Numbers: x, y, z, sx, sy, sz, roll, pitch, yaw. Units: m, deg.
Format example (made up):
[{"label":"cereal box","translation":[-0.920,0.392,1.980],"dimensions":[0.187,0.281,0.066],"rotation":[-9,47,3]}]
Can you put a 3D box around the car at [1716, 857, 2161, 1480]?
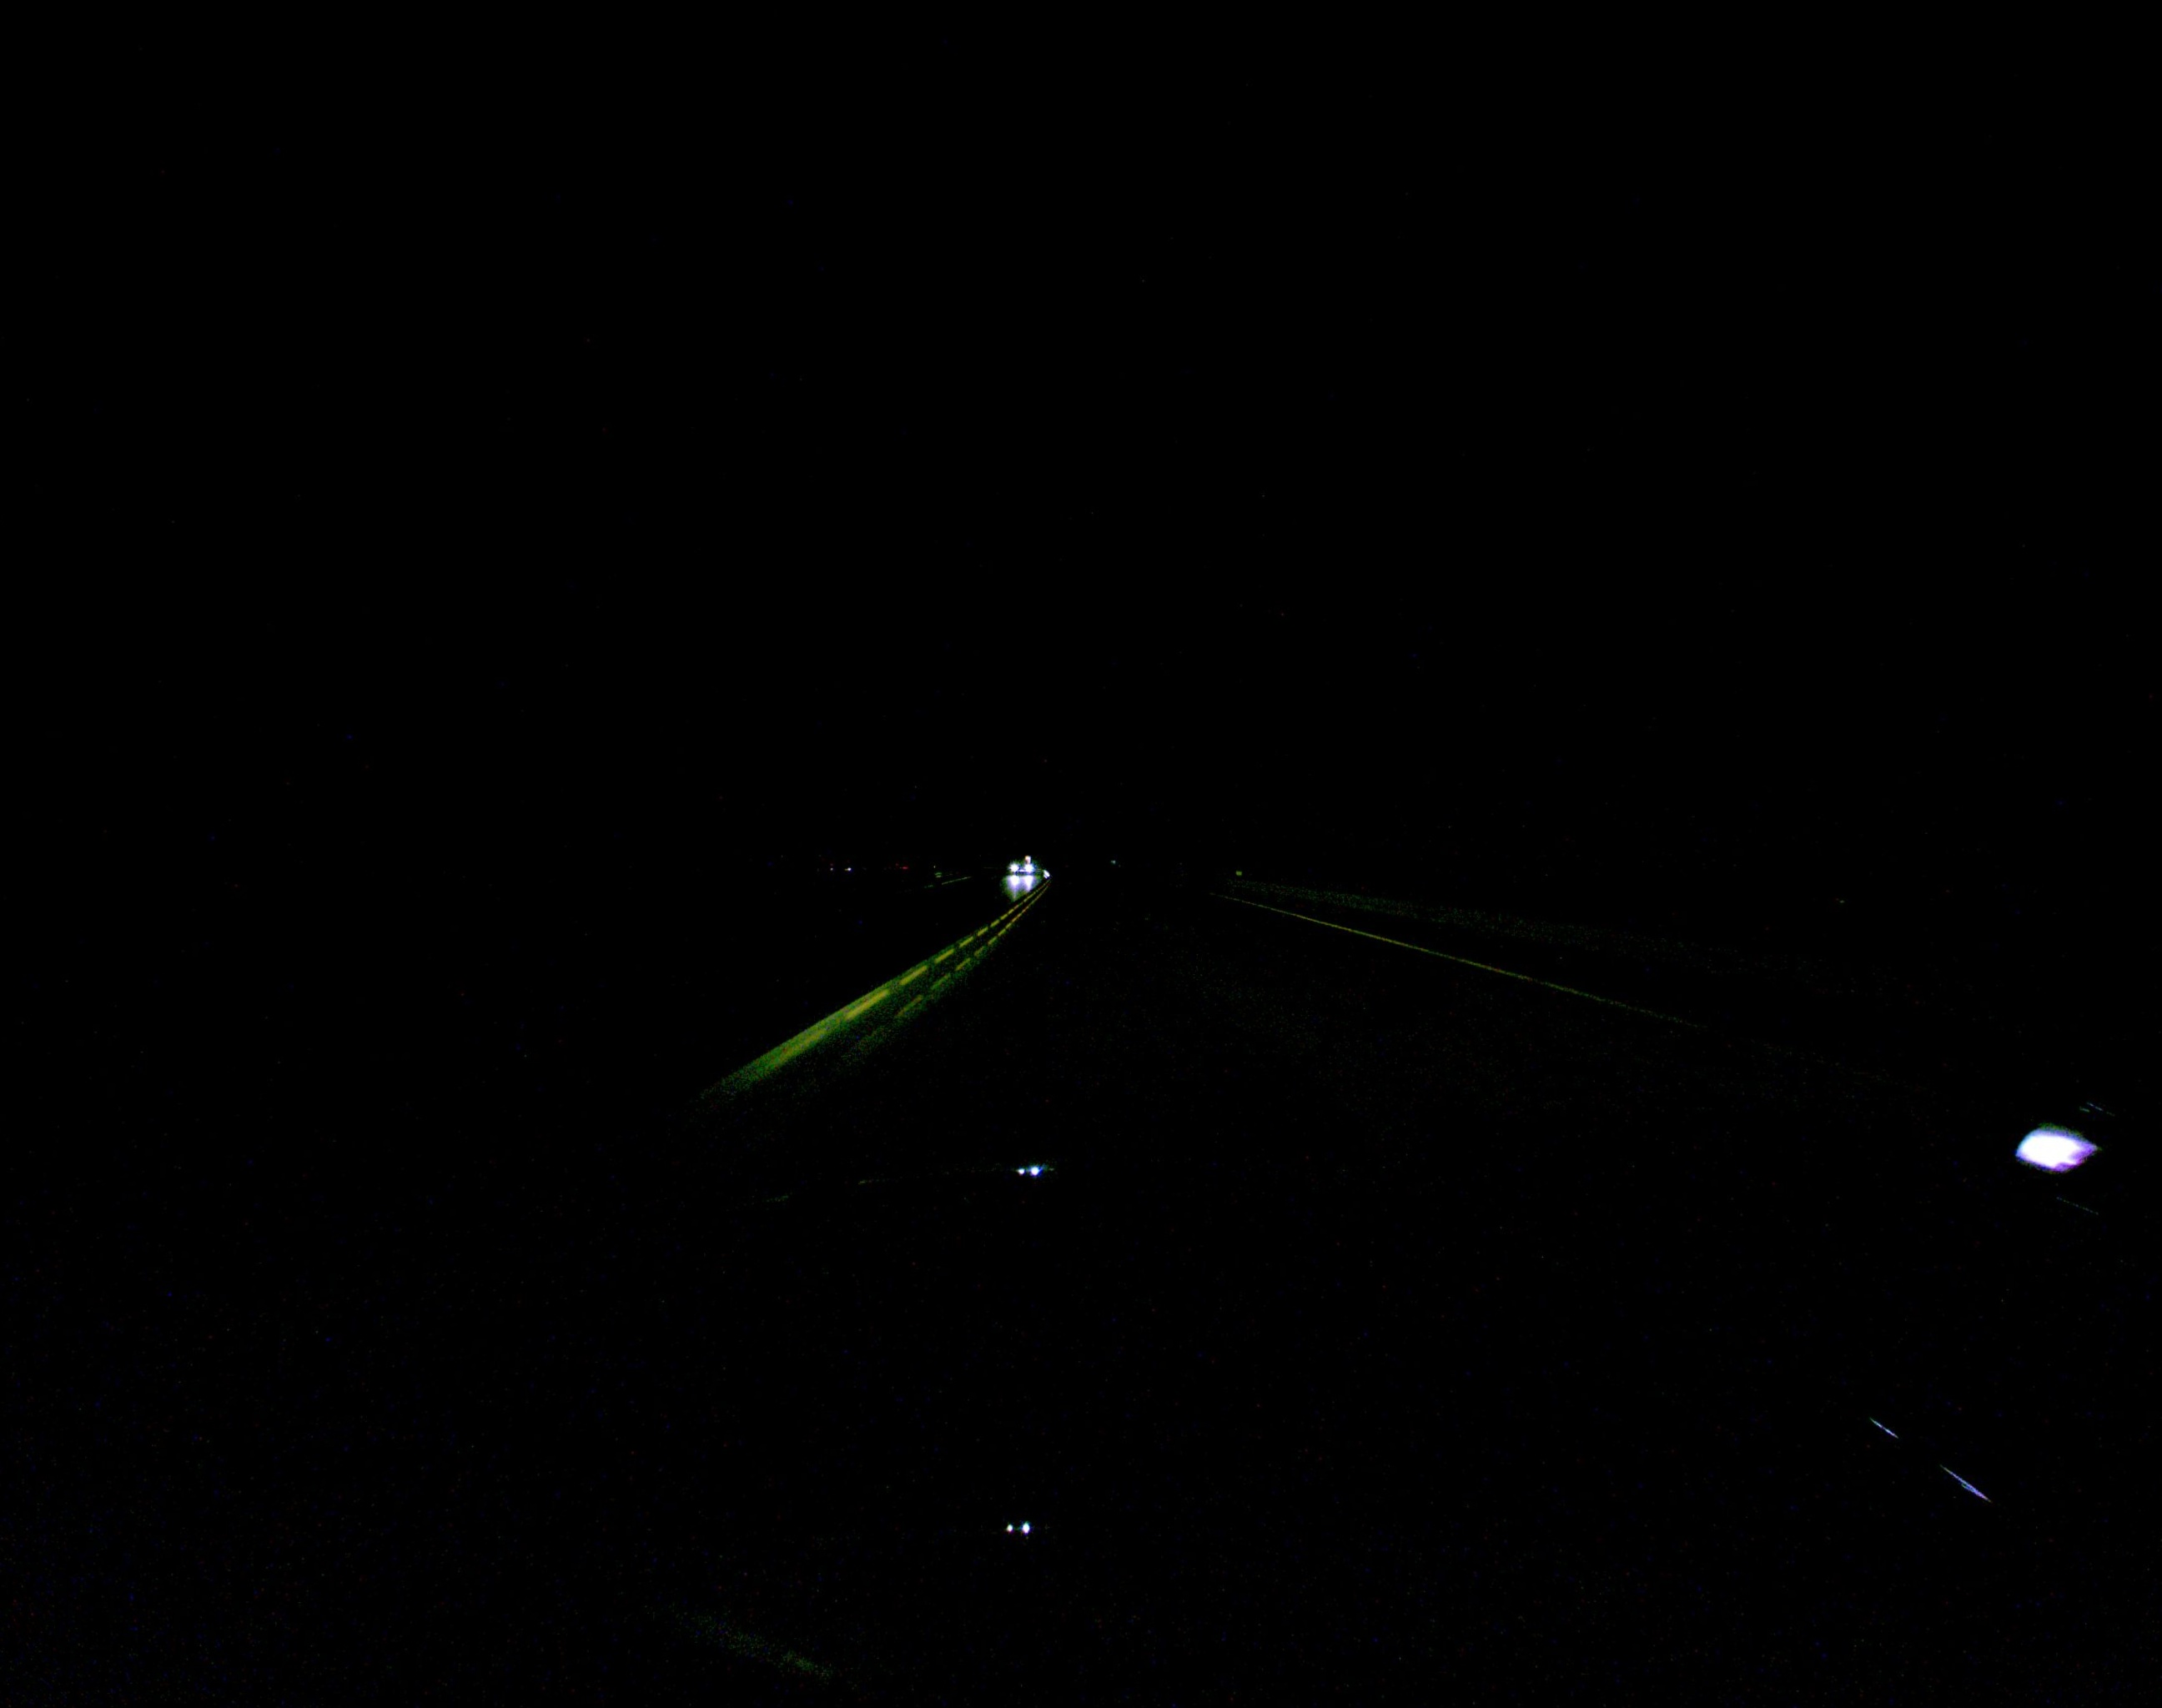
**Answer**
[{"label":"car","translation":[3.422,0.757,0.870],"dimensions":[1.801,1.426,4.877],"rotation":[-2,0,2]}]

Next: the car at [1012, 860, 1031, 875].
[{"label":"car","translation":[-6.106,1.400,83.090],"dimensions":[1.816,1.516,4.513],"rotation":[-1,-1,-6]}]
